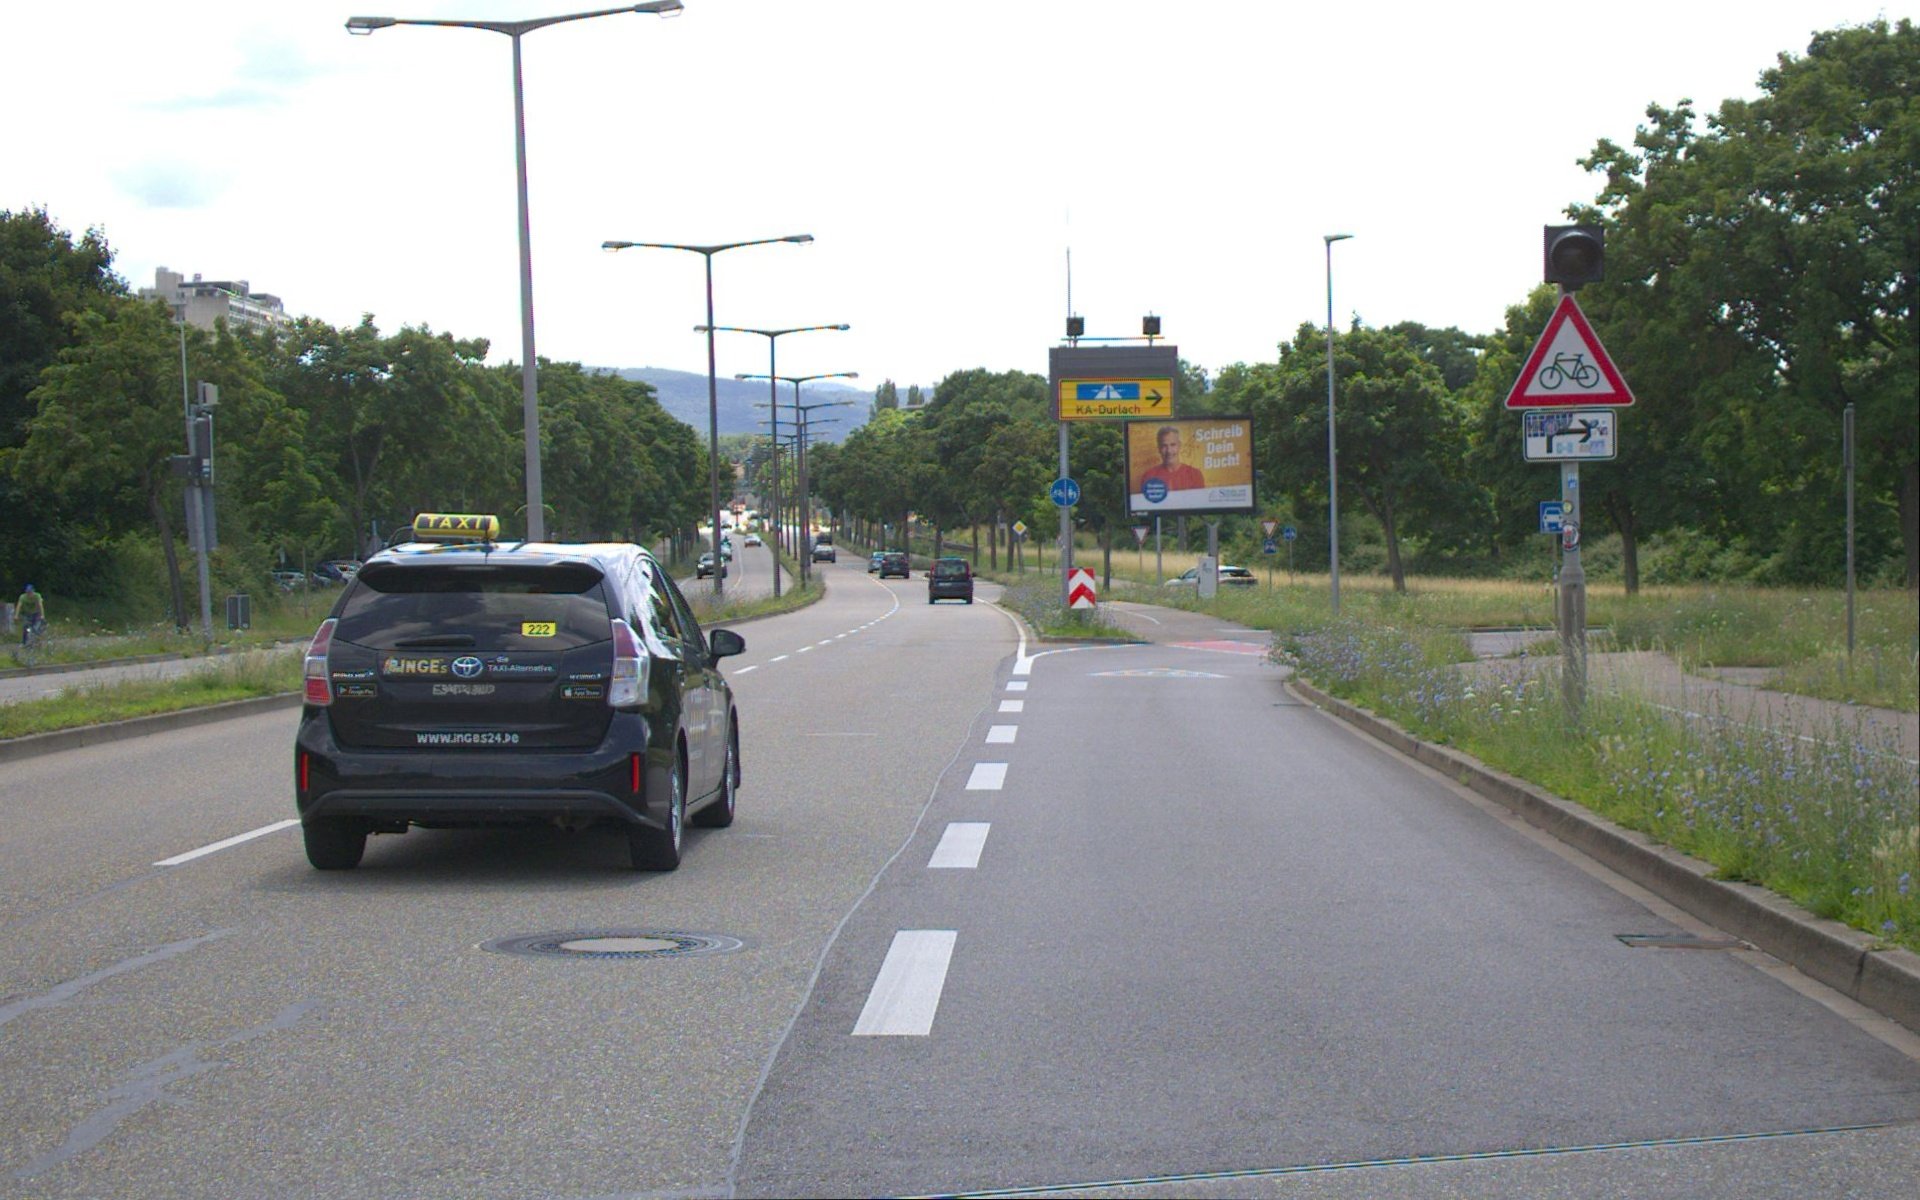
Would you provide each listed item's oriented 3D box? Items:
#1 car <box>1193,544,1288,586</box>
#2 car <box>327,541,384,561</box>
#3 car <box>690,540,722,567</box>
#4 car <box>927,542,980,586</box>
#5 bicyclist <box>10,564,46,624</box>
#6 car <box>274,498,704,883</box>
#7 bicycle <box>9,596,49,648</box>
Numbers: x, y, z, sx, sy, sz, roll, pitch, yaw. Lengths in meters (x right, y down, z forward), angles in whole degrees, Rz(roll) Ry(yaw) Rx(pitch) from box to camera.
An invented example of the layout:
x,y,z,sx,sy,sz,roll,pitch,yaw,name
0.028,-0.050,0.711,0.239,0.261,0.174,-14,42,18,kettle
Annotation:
x,y,z,sx,sy,sz,roll,pitch,yaw,name
10.984,-1.392,135.049,1.993,1.503,4.001,-1,2,-25,car
-43.403,-3.502,246.756,3.785,1.383,1.786,0,2,1,car
-17.273,-3.163,233.854,1.876,1.784,4.729,-3,1,-2,car
-0.281,-1.467,139.515,1.993,1.656,4.001,0,2,-2,car
-20.405,-0.132,75.302,0.520,1.268,1.107,0,2,-2,bicyclist
-2.246,0.348,17.301,1.779,1.678,4.001,0,2,-3,car
-20.385,0.470,75.292,0.431,1.064,1.908,0,2,-2,bicycle
